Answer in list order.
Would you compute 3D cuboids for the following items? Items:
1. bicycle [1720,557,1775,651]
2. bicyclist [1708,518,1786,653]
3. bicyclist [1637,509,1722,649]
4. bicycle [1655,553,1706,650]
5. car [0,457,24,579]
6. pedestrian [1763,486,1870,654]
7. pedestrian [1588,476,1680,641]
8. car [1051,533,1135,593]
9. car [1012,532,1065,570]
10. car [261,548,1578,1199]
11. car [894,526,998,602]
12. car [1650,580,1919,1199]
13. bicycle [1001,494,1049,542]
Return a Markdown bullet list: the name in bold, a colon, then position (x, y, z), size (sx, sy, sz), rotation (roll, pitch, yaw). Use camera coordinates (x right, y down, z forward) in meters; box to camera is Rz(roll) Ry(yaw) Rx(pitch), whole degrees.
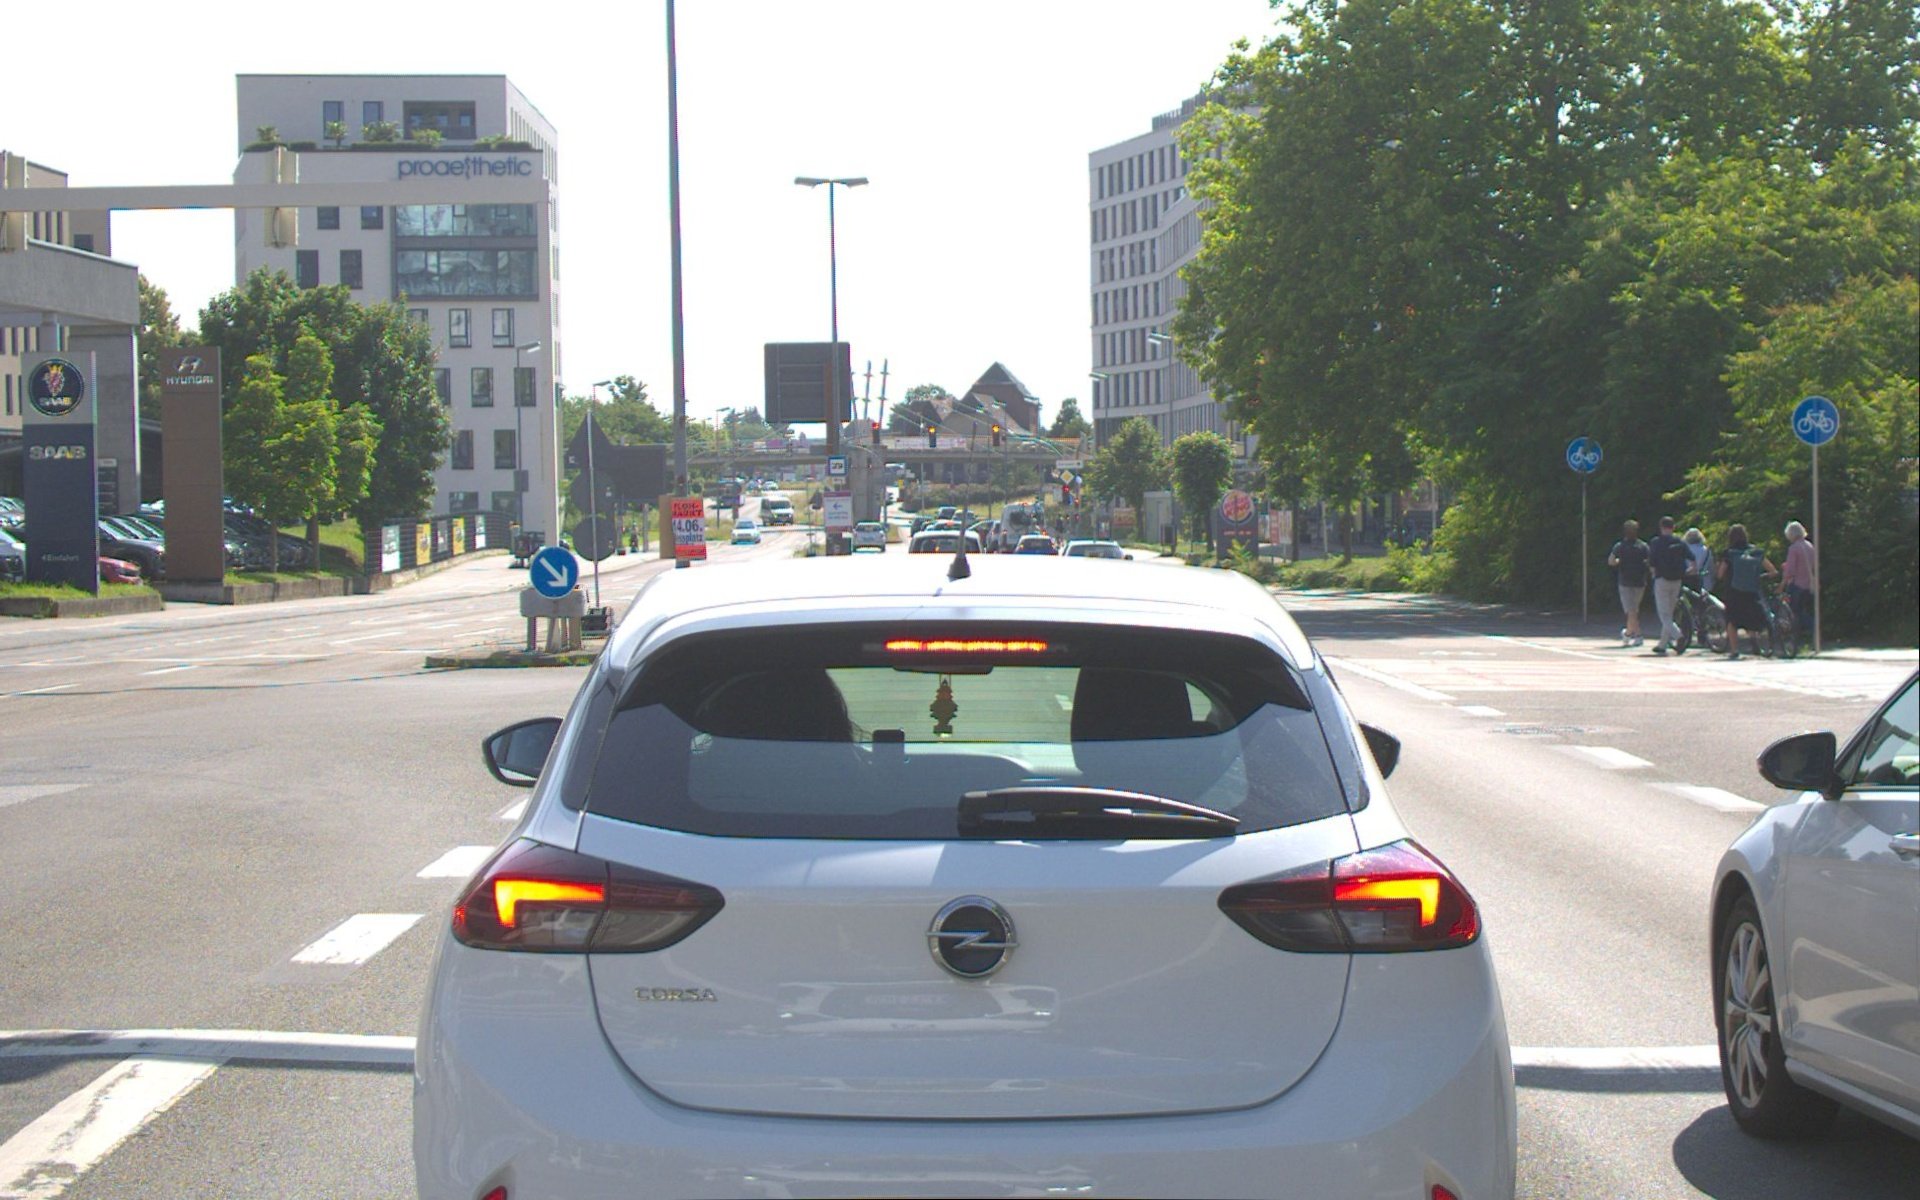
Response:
- **bicycle**: position (9.671, 0.044, 42.225), size (0.373, 1.143, 1.034), rotation (1, 0, -3)
- **bicyclist**: position (9.662, -0.184, 42.214), size (0.688, 1.637, 0.777), rotation (-1, 1, -9)
- **bicyclist**: position (9.189, -0.277, 43.933), size (0.879, 1.766, 0.864), rotation (-1, 1, 0)
- **bicycle**: position (9.199, 0.013, 43.903), size (0.372, 1.212, 1.154), rotation (1, 1, 0)
- **car**: position (-22.498, -1.721, 73.497), size (4.357, 2.592, 2.000), rotation (0, 1, 5)
- **pedestrian**: position (10.417, -0.375, 41.849), size (1.027, 2.007, 1.039), rotation (-1, 1, -1)
- **pedestrian**: position (9.225, -0.571, 47.102), size (1.027, 2.231, 1.039), rotation (-1, 1, -1)
- **car**: position (3.176, -0.876, 82.767), size (1.806, 1.381, 4.000), rotation (1, 0, -1)
- **car**: position (2.944, -1.846, 129.402), size (1.806, 1.381, 4.000), rotation (1, 0, -1)
- **car**: position (-0.076, 0.664, 6.672), size (1.779, 1.489, 4.000), rotation (-1, 1, -1)
- **car**: position (-0.292, -0.688, 65.549), size (1.806, 1.381, 4.000), rotation (-1, 1, -2)
- **car**: position (2.823, 0.682, 7.306), size (1.807, 1.424, 4.000), rotation (-1, 1, -1)
- **bicycle**: position (2.918, -3.691, 155.039), size (1.993, 2.150, 4.000), rotation (-1, 1, -1)
